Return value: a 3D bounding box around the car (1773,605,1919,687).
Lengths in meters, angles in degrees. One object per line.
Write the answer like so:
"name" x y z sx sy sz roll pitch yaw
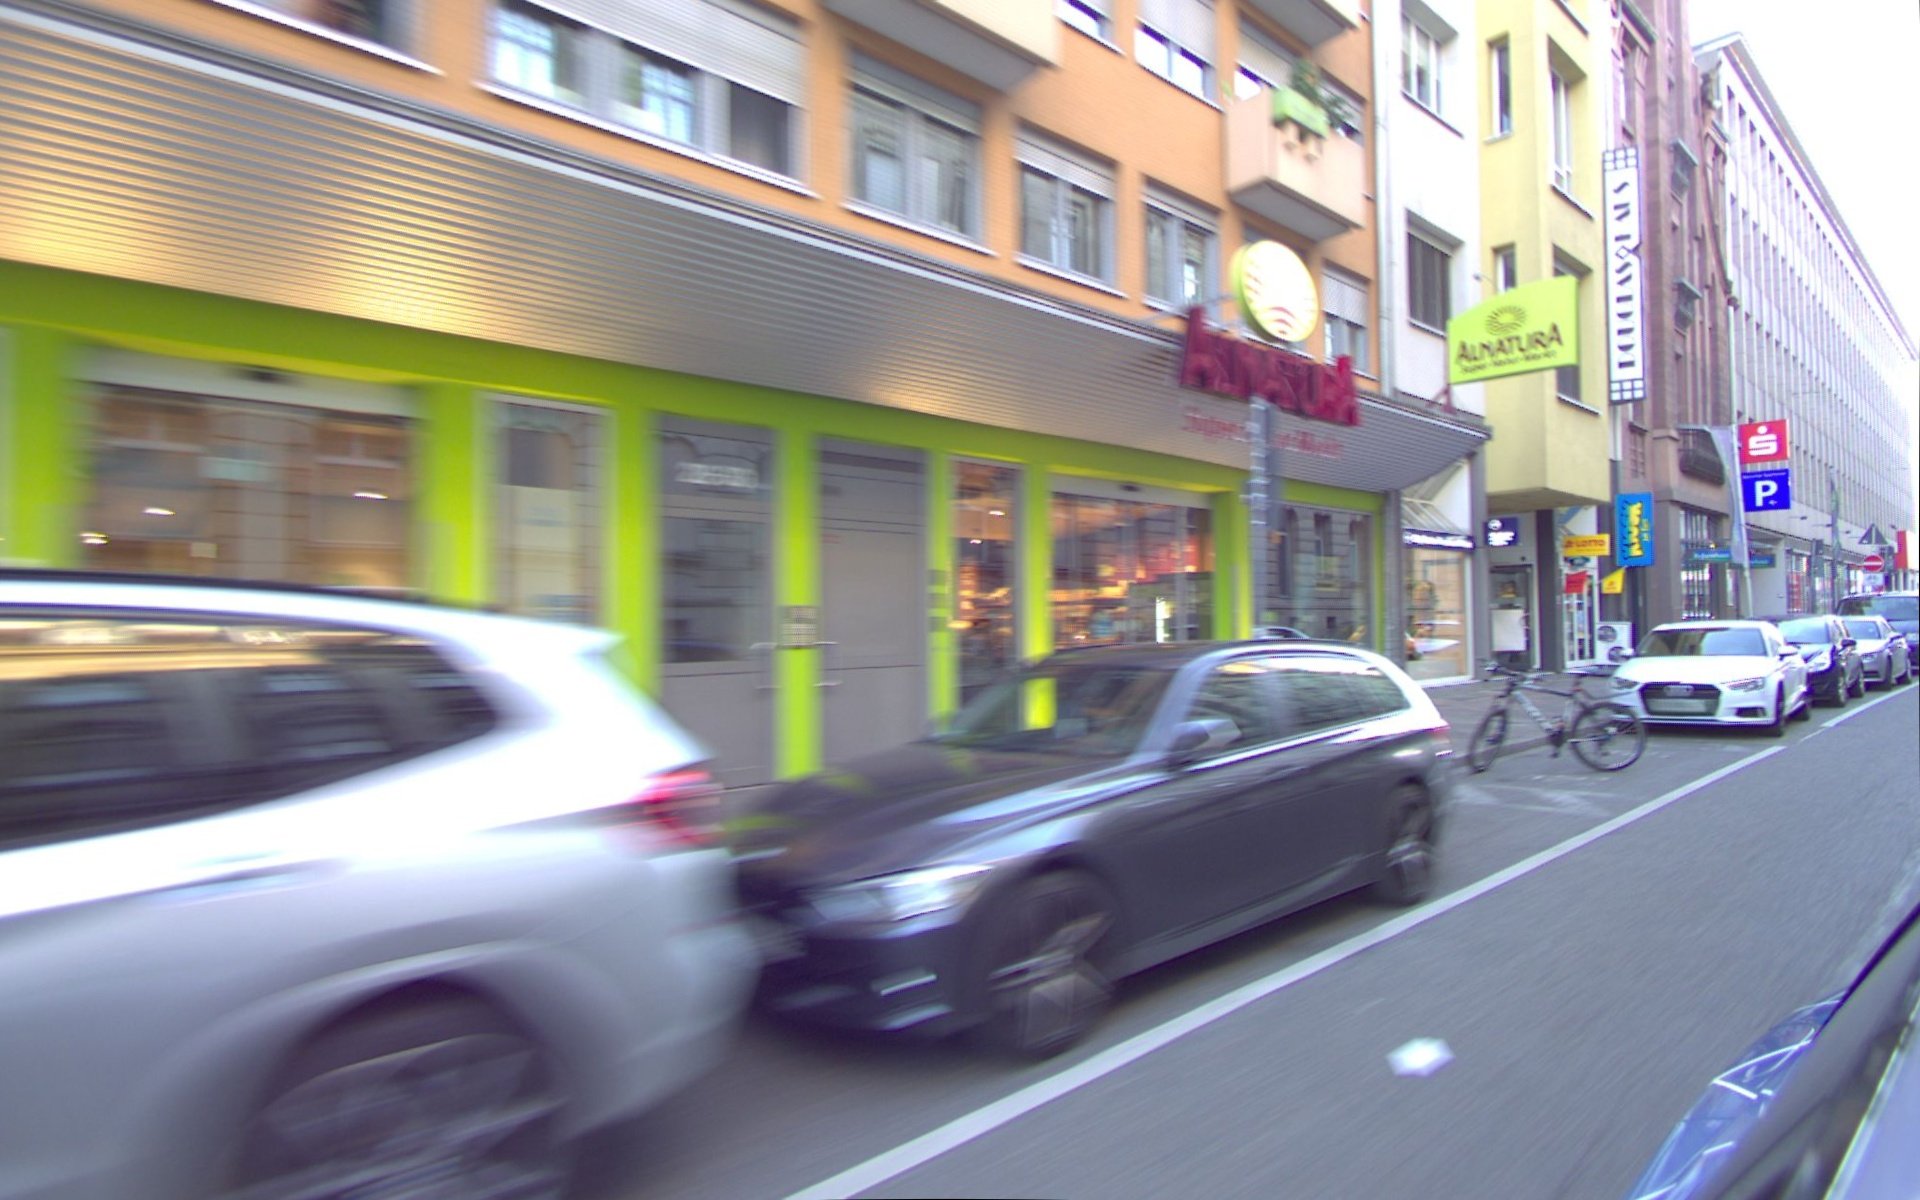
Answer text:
"car" 17.930 0.896 20.248 4.417 1.472 1.689 1 -4 -40

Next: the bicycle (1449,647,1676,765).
"bicycle" 5.768 1.011 9.774 1.708 1.069 0.658 -2 -2 8

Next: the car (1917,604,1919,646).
"car" 35.484 0.828 36.036 4.234 1.466 1.658 0 -2 -42

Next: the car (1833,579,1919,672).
"car" 23.142 0.575 24.875 4.967 2.085 1.848 0 -2 -42

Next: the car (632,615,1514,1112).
"car" 0.937 0.832 5.140 4.672 1.433 1.694 1 -4 -41

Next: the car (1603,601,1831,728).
"car" 10.299 0.799 13.625 4.562 1.430 1.692 1 -4 -44

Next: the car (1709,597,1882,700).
"car" 14.099 0.785 17.000 4.102 1.536 1.619 1 -4 -42

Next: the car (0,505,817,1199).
"car" -2.740 0.721 1.931 4.672 1.690 1.754 1 -4 -41
